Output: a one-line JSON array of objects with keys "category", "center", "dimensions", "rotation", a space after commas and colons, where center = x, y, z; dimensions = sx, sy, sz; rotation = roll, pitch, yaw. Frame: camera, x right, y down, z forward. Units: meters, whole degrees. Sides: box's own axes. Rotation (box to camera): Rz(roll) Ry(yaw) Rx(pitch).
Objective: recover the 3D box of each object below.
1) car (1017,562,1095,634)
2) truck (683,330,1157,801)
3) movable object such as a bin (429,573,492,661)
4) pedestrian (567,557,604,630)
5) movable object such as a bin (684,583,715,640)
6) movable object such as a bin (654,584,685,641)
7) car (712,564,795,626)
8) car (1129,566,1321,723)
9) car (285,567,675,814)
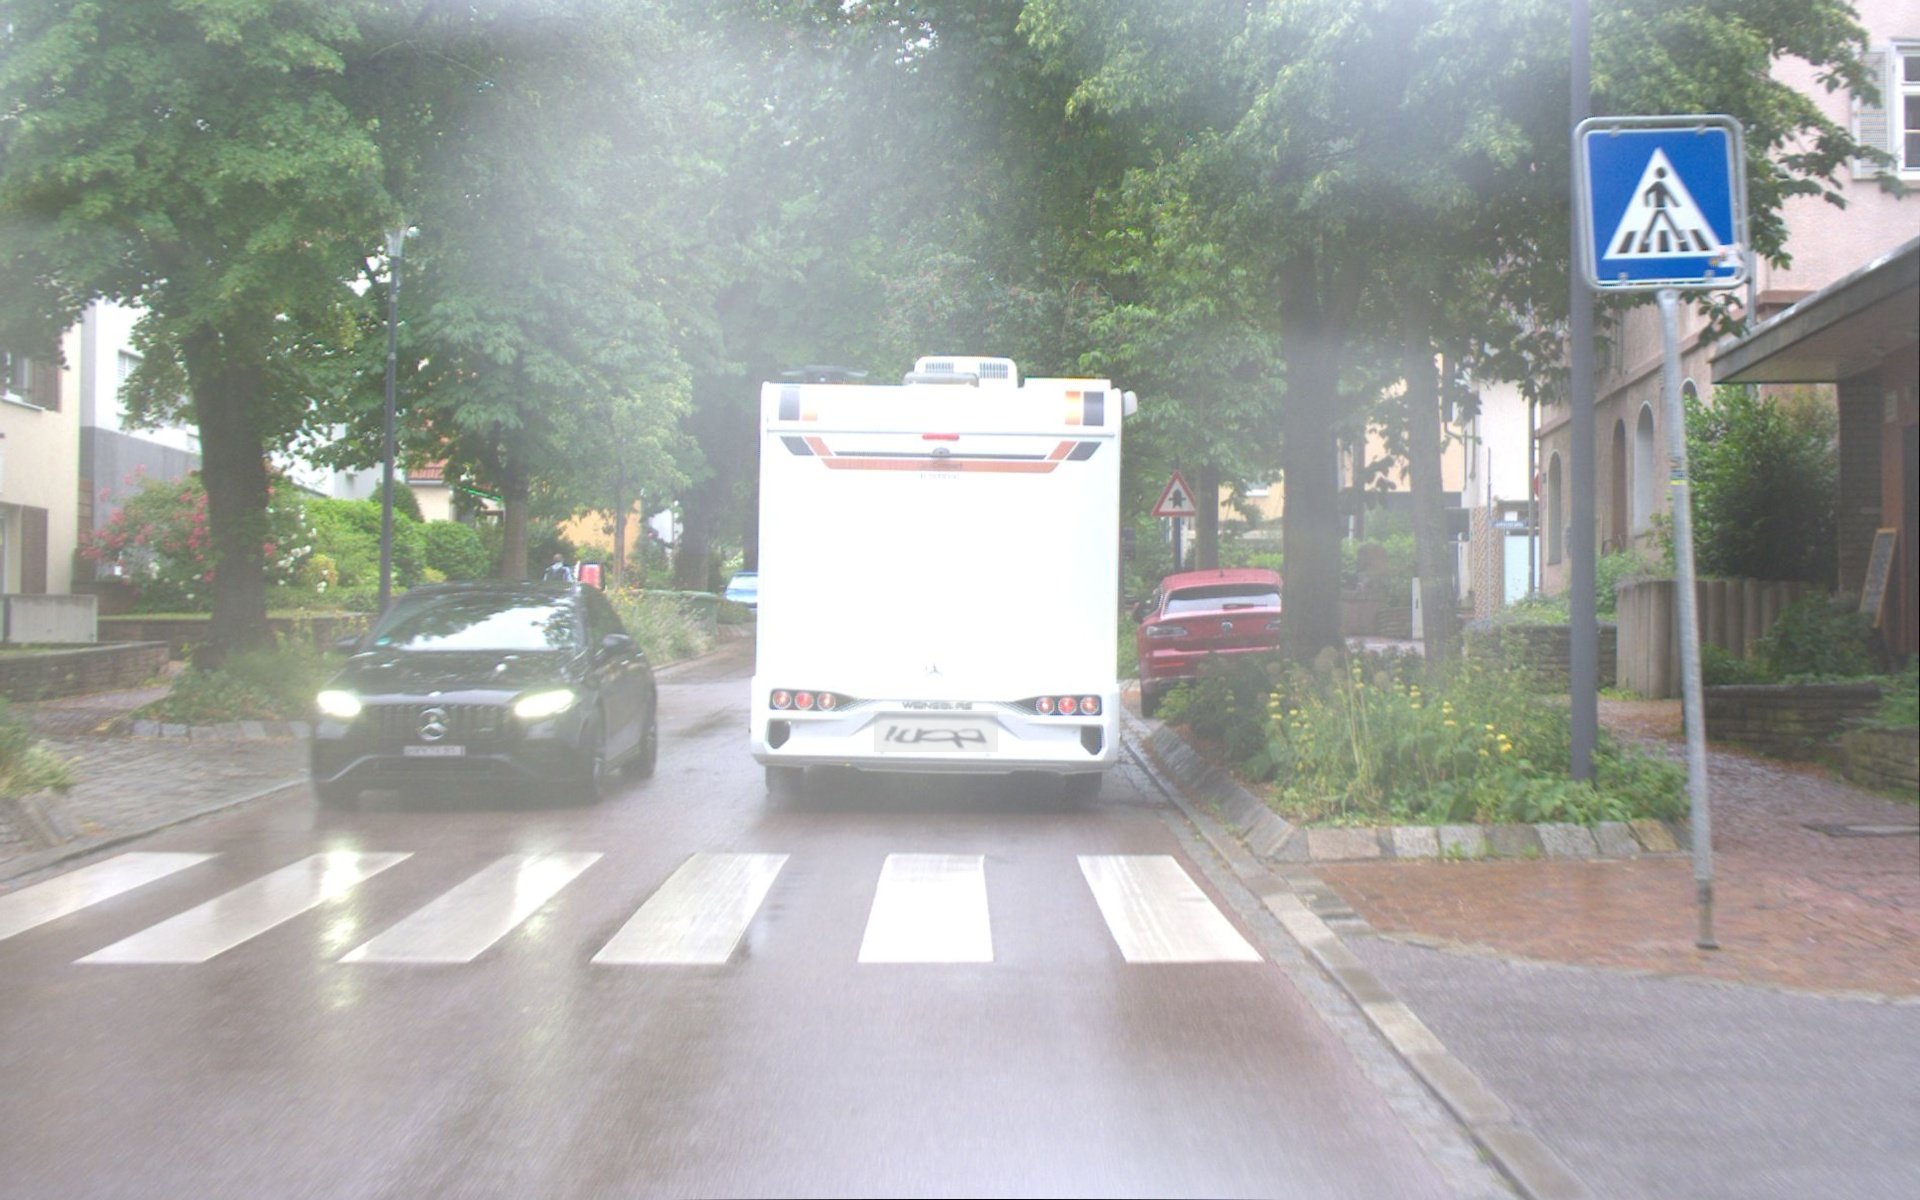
[{"category": "car", "center": [2.115, -0.029, 76.185], "dimensions": [1.649, 1.536, 3.530], "rotation": [-1, 0, 1]}, {"category": "truck", "center": [-0.259, -0.186, 23.630], "dimensions": [2.805, 2.787, 6.107], "rotation": [-1, 0, 0]}, {"category": "movable object such as a bin", "center": [-6.314, 0.220, 43.481], "dimensions": [0.670, 1.101, 0.817], "rotation": [0, -1, 0]}, {"category": "pedestrian", "center": [-9.432, -0.158, 86.587], "dimensions": [0.817, 1.838, 0.770], "rotation": [-1, -1, 0]}, {"category": "movable object such as a bin", "center": [-4.827, 0.215, 63.717], "dimensions": [0.528, 1.055, 0.562], "rotation": [-1, -1, 1]}, {"category": "movable object such as a bin", "center": [-5.386, 0.237, 63.747], "dimensions": [0.528, 1.055, 0.562], "rotation": [-1, -1, 1]}, {"category": "car", "center": [-5.340, -0.107, 88.461], "dimensions": [1.797, 1.547, 4.001], "rotation": [-1, 0, -8]}, {"category": "car", "center": [2.727, 0.418, 36.156], "dimensions": [1.855, 1.467, 4.365], "rotation": [1, 1, 3]}, {"category": "car", "center": [-3.057, 0.519, 22.780], "dimensions": [1.855, 1.380, 4.408], "rotation": [2, 1, 1]}]
